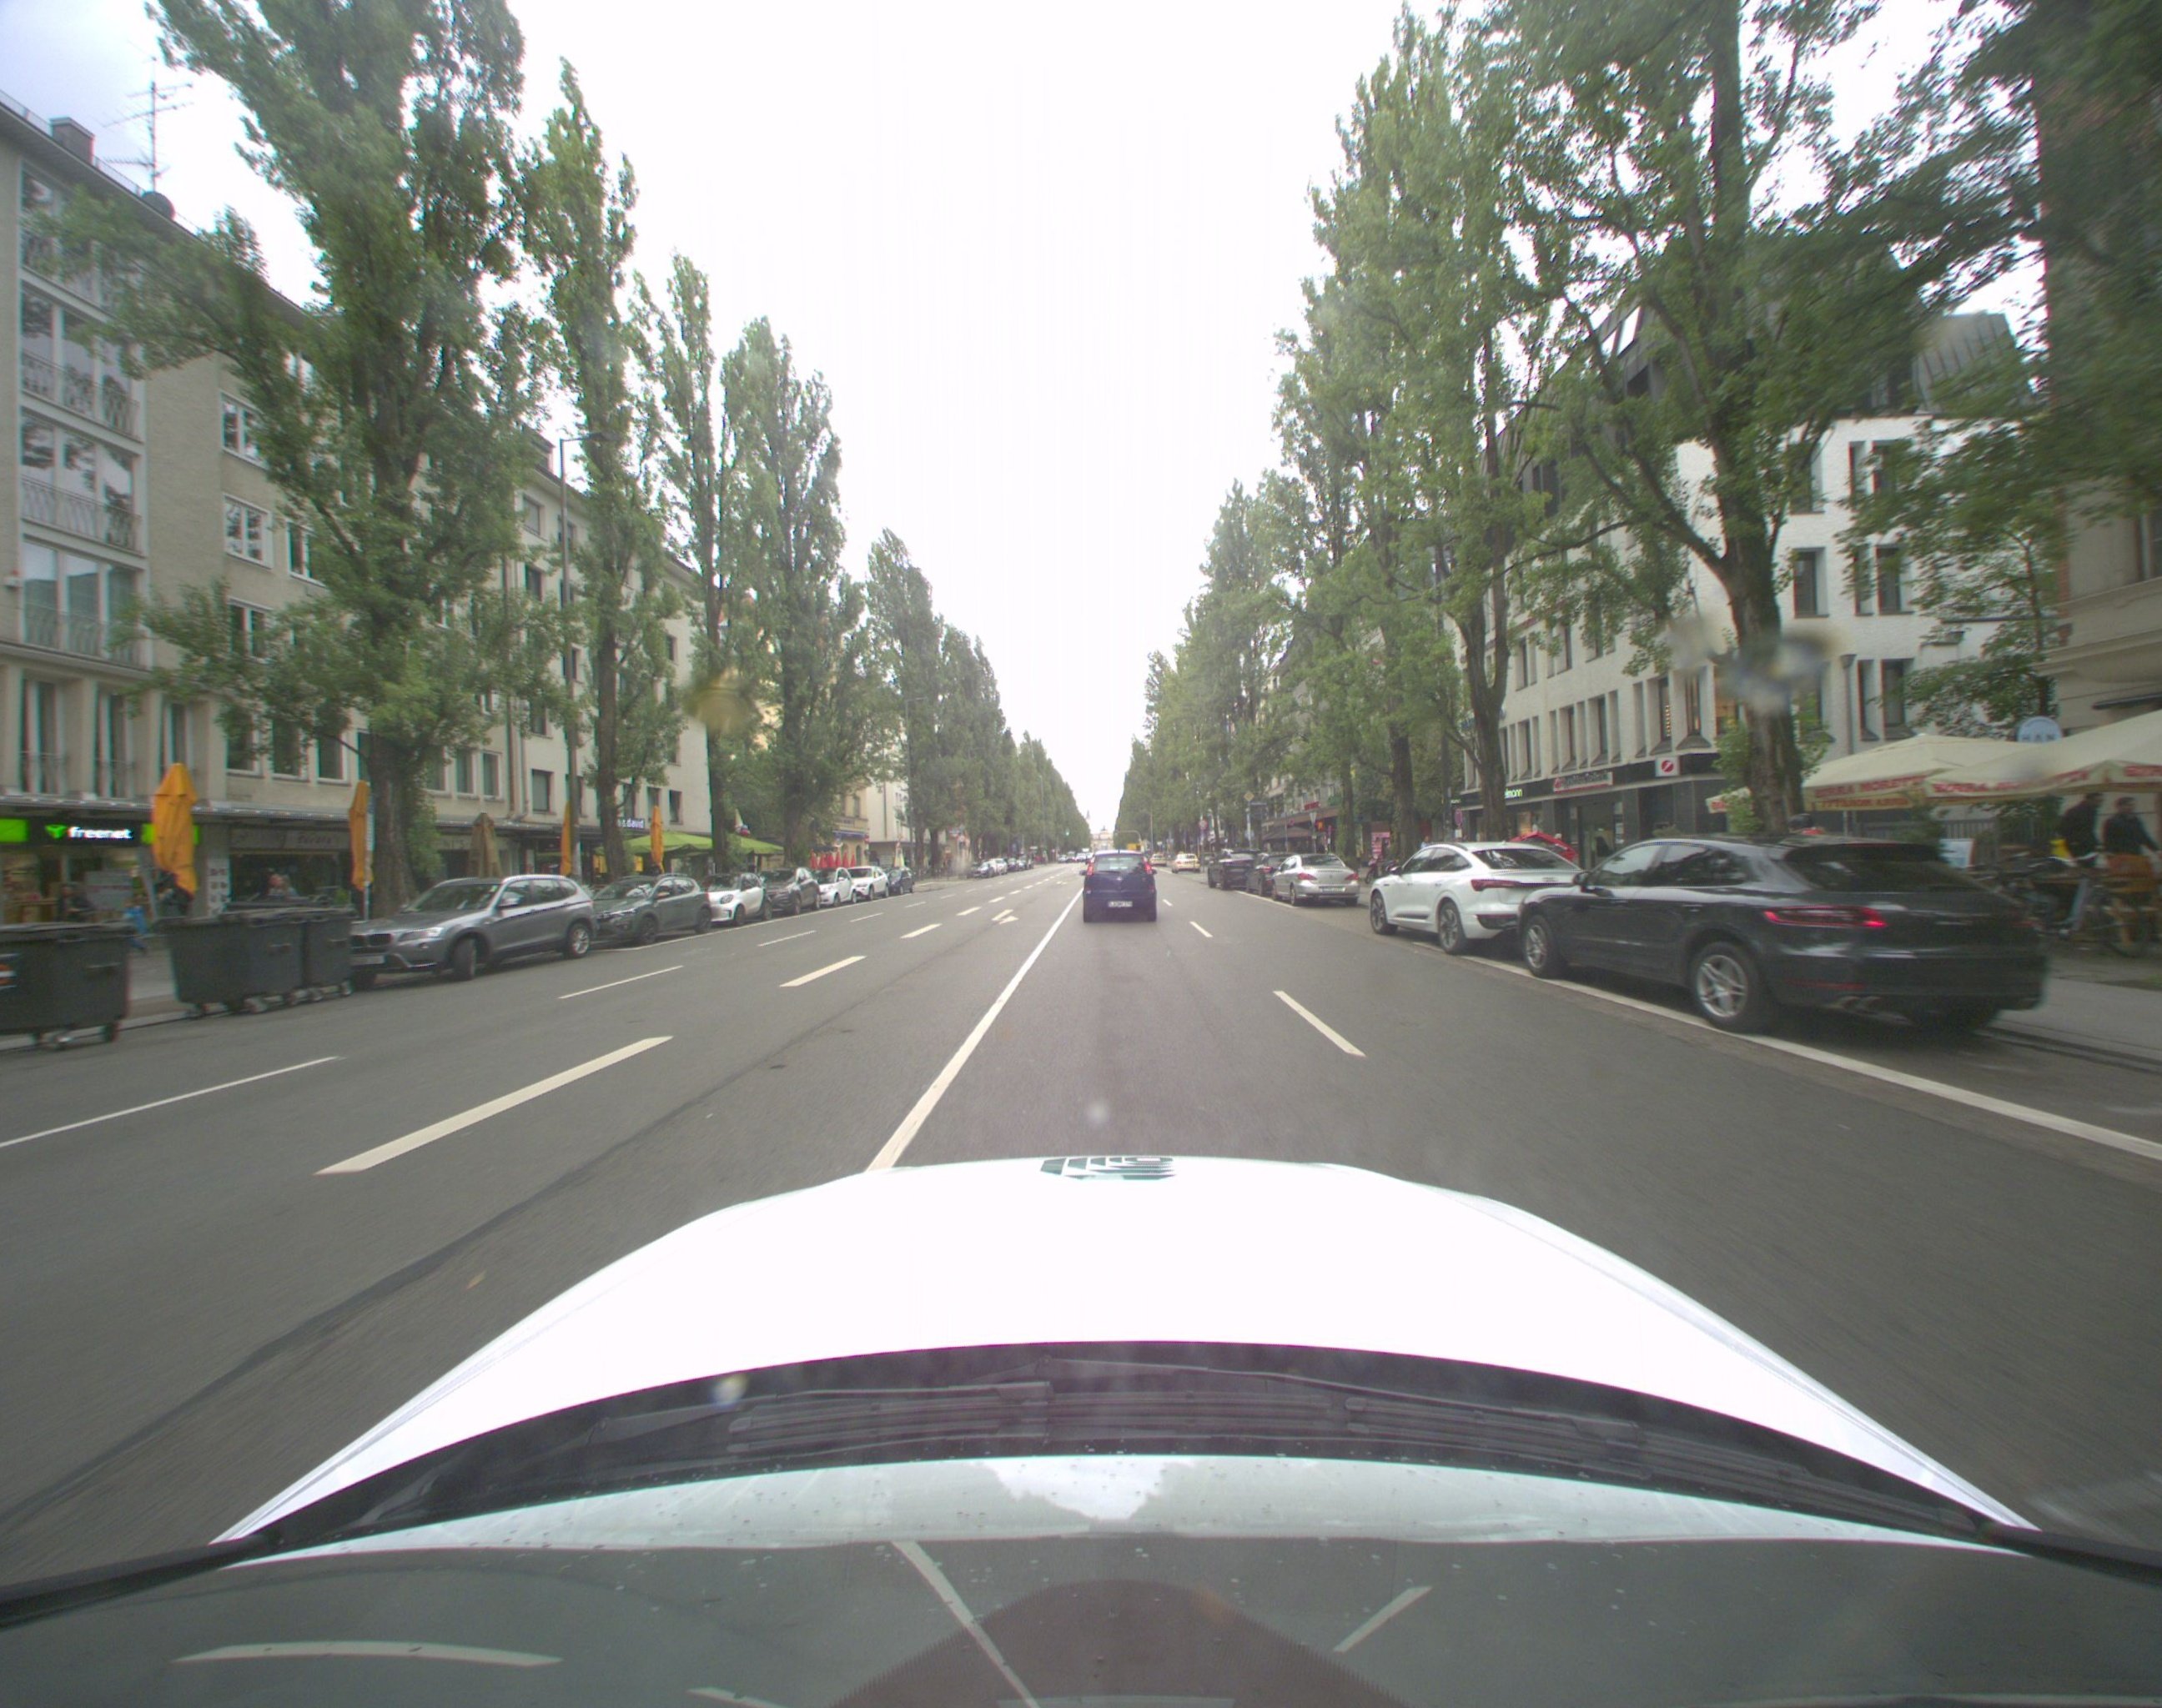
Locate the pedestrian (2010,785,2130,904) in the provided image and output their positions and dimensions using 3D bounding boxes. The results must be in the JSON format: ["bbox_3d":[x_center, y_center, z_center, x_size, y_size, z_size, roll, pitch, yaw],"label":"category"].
[{"bbox_3d":[15.786,-0.149,13.025,0.726,1.802,0.932,-2,0,2],"label":"pedestrian"}]

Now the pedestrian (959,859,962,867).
[{"bbox_3d":[-15.736,1.145,106.579,0.287,1.090,0.259,-2,0,7],"label":"pedestrian"}]

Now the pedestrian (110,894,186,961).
[{"bbox_3d":[-19.855,1.546,17.351,0.623,1.325,0.827,-2,0,0],"label":"pedestrian"}]

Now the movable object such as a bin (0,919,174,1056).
[{"bbox_3d":[-10.998,1.417,8.834,1.272,1.310,0.902,-2,0,1],"label":"movable object such as a bin"}]

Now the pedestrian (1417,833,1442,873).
[{"bbox_3d":[16.028,-0.039,37.455,0.790,1.812,0.682,-2,0,-1],"label":"pedestrian"}]

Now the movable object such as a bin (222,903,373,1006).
[{"bbox_3d":[-11.157,1.415,11.631,1.309,1.317,0.819,-2,0,0],"label":"movable object such as a bin"}]

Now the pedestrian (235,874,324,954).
[{"bbox_3d":[-18.594,1.364,18.921,0.848,1.744,1.148,-2,0,2],"label":"pedestrian"}]

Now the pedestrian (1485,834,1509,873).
[{"bbox_3d":[18.182,-0.019,35.614,0.652,1.626,0.704,-2,0,-1],"label":"pedestrian"}]

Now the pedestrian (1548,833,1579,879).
[{"bbox_3d":[17.540,0.060,29.635,0.652,1.626,0.704,-2,0,-1],"label":"pedestrian"}]

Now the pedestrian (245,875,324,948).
[{"bbox_3d":[-20.423,1.453,20.911,0.848,1.744,1.148,-2,0,2],"label":"pedestrian"}]

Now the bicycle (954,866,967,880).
[{"bbox_3d":[-9.344,1.430,63.215,0.664,1.006,2.460,-2,0,-2],"label":"bicycle"}]

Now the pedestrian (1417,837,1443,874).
[{"bbox_3d":[15.361,0.066,35.853,0.736,1.626,0.763,-1,-1,-12],"label":"pedestrian"}]

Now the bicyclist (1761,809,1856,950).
[{"bbox_3d":[8.499,0.289,9.528,0.619,1.588,0.481,-2,0,1],"label":"bicyclist"}]

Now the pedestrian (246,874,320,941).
[{"bbox_3d":[-21.720,1.432,22.194,0.848,1.744,1.148,-1,0,2],"label":"pedestrian"}]

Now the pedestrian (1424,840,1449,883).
[{"bbox_3d":[13.454,0.299,30.820,0.651,1.601,0.705,-1,-1,2],"label":"pedestrian"}]

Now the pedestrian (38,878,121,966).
[{"bbox_3d":[-20.528,1.371,16.715,0.623,1.721,0.827,-2,0,0],"label":"pedestrian"}]

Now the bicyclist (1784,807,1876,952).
[{"bbox_3d":[8.496,0.287,9.250,0.619,1.588,0.391,-2,0,0],"label":"bicyclist"}]

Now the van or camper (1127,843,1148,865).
[{"bbox_3d":[7.247,-0.004,105.126,2.467,2.581,5.847,-2,0,2],"label":"van or camper"}]

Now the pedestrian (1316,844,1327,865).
[{"bbox_3d":[17.976,0.038,60.886,0.638,1.526,0.484,-2,0,1],"label":"pedestrian"}]

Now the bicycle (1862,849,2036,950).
[{"bbox_3d":[10.588,0.542,9.946,1.826,1.139,0.370,-2,0,-5],"label":"bicycle"}]

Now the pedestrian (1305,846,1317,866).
[{"bbox_3d":[18.060,0.160,63.947,0.682,1.469,0.678,-2,0,2],"label":"pedestrian"}]

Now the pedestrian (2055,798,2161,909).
[{"bbox_3d":[16.446,-0.015,12.959,0.726,1.677,0.932,-2,0,2],"label":"pedestrian"}]

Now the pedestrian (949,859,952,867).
[{"bbox_3d":[-17.152,1.167,107.251,0.287,1.090,0.259,-2,0,7],"label":"pedestrian"}]

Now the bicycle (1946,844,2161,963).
[{"bbox_3d":[10.727,0.527,8.957,1.865,1.192,0.575,-2,0,-4],"label":"bicycle"}]

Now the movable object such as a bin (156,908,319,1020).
[{"bbox_3d":[-11.124,1.432,10.781,1.256,1.317,0.825,-2,0,0],"label":"movable object such as a bin"}]

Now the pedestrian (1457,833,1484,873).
[{"bbox_3d":[17.132,-0.028,35.870,0.726,1.751,0.858,-1,-1,-4],"label":"pedestrian"}]

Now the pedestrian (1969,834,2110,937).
[{"bbox_3d":[12.451,0.395,10.607,0.925,1.267,0.731,-2,0,0],"label":"pedestrian"}]

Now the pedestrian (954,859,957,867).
[{"bbox_3d":[-16.380,1.152,106.473,0.287,1.090,0.259,-2,0,7],"label":"pedestrian"}]

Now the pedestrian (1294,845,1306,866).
[{"bbox_3d":[15.819,0.119,58.829,0.638,1.526,0.484,-2,0,1],"label":"pedestrian"}]

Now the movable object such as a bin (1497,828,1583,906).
[{"bbox_3d":[10.727,0.300,19.118,1.030,1.703,1.585,-2,0,-2],"label":"movable object such as a bin"}]

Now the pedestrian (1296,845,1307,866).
[{"bbox_3d":[17.038,0.112,62.995,0.638,1.526,0.484,-2,0,1],"label":"pedestrian"}]

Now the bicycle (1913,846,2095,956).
[{"bbox_3d":[10.725,0.532,9.479,1.707,1.192,0.420,-2,0,-4],"label":"bicycle"}]

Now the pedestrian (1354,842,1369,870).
[{"bbox_3d":[17.532,0.144,50.984,0.651,1.751,0.860,-1,-1,2],"label":"pedestrian"}]
